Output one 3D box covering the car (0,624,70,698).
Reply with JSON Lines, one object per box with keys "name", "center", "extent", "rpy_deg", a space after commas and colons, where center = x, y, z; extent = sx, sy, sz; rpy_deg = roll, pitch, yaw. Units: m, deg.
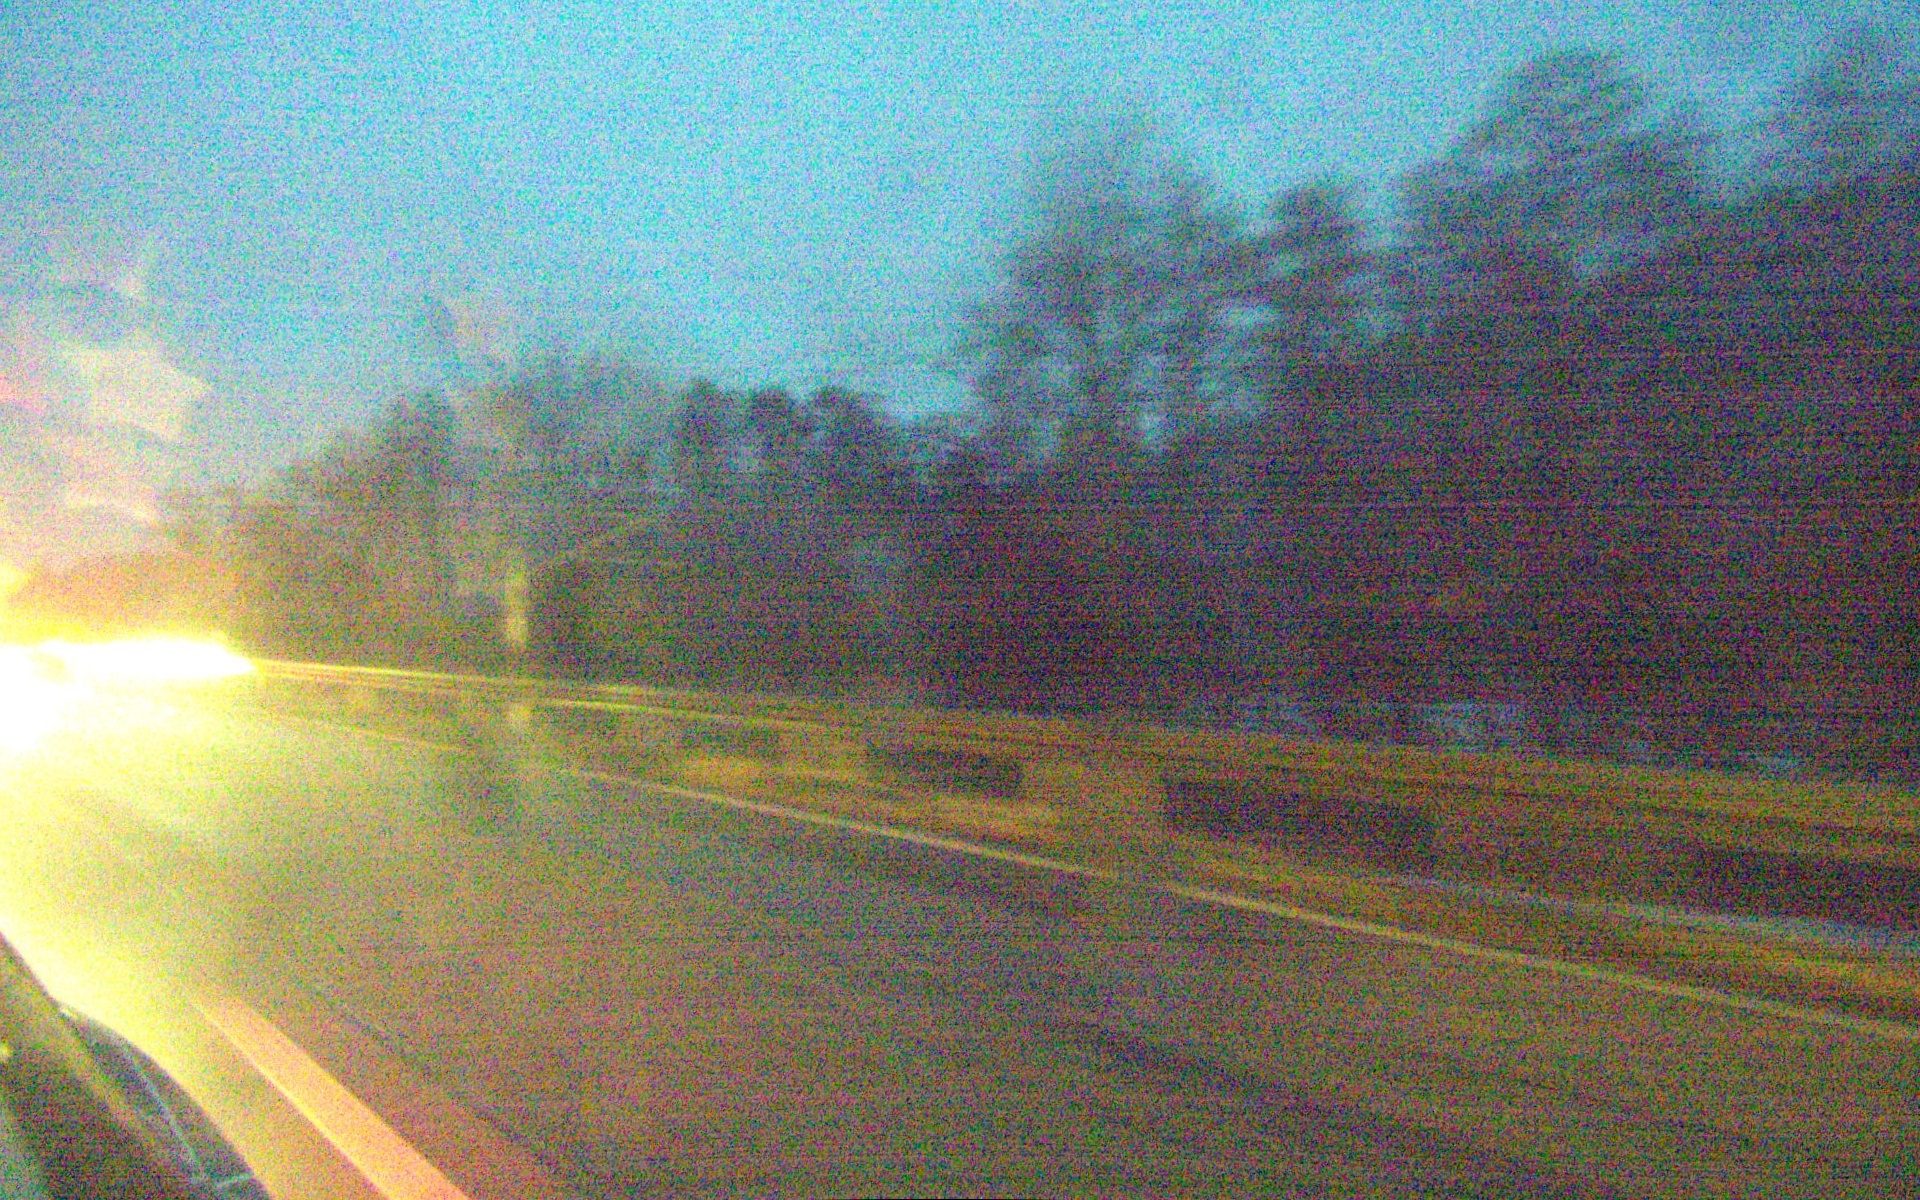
{"name": "car", "center": [-20.739, 1.314, 21.910], "extent": [3.705, 1.482, 1.698], "rpy_deg": [-3, -3, 41]}
